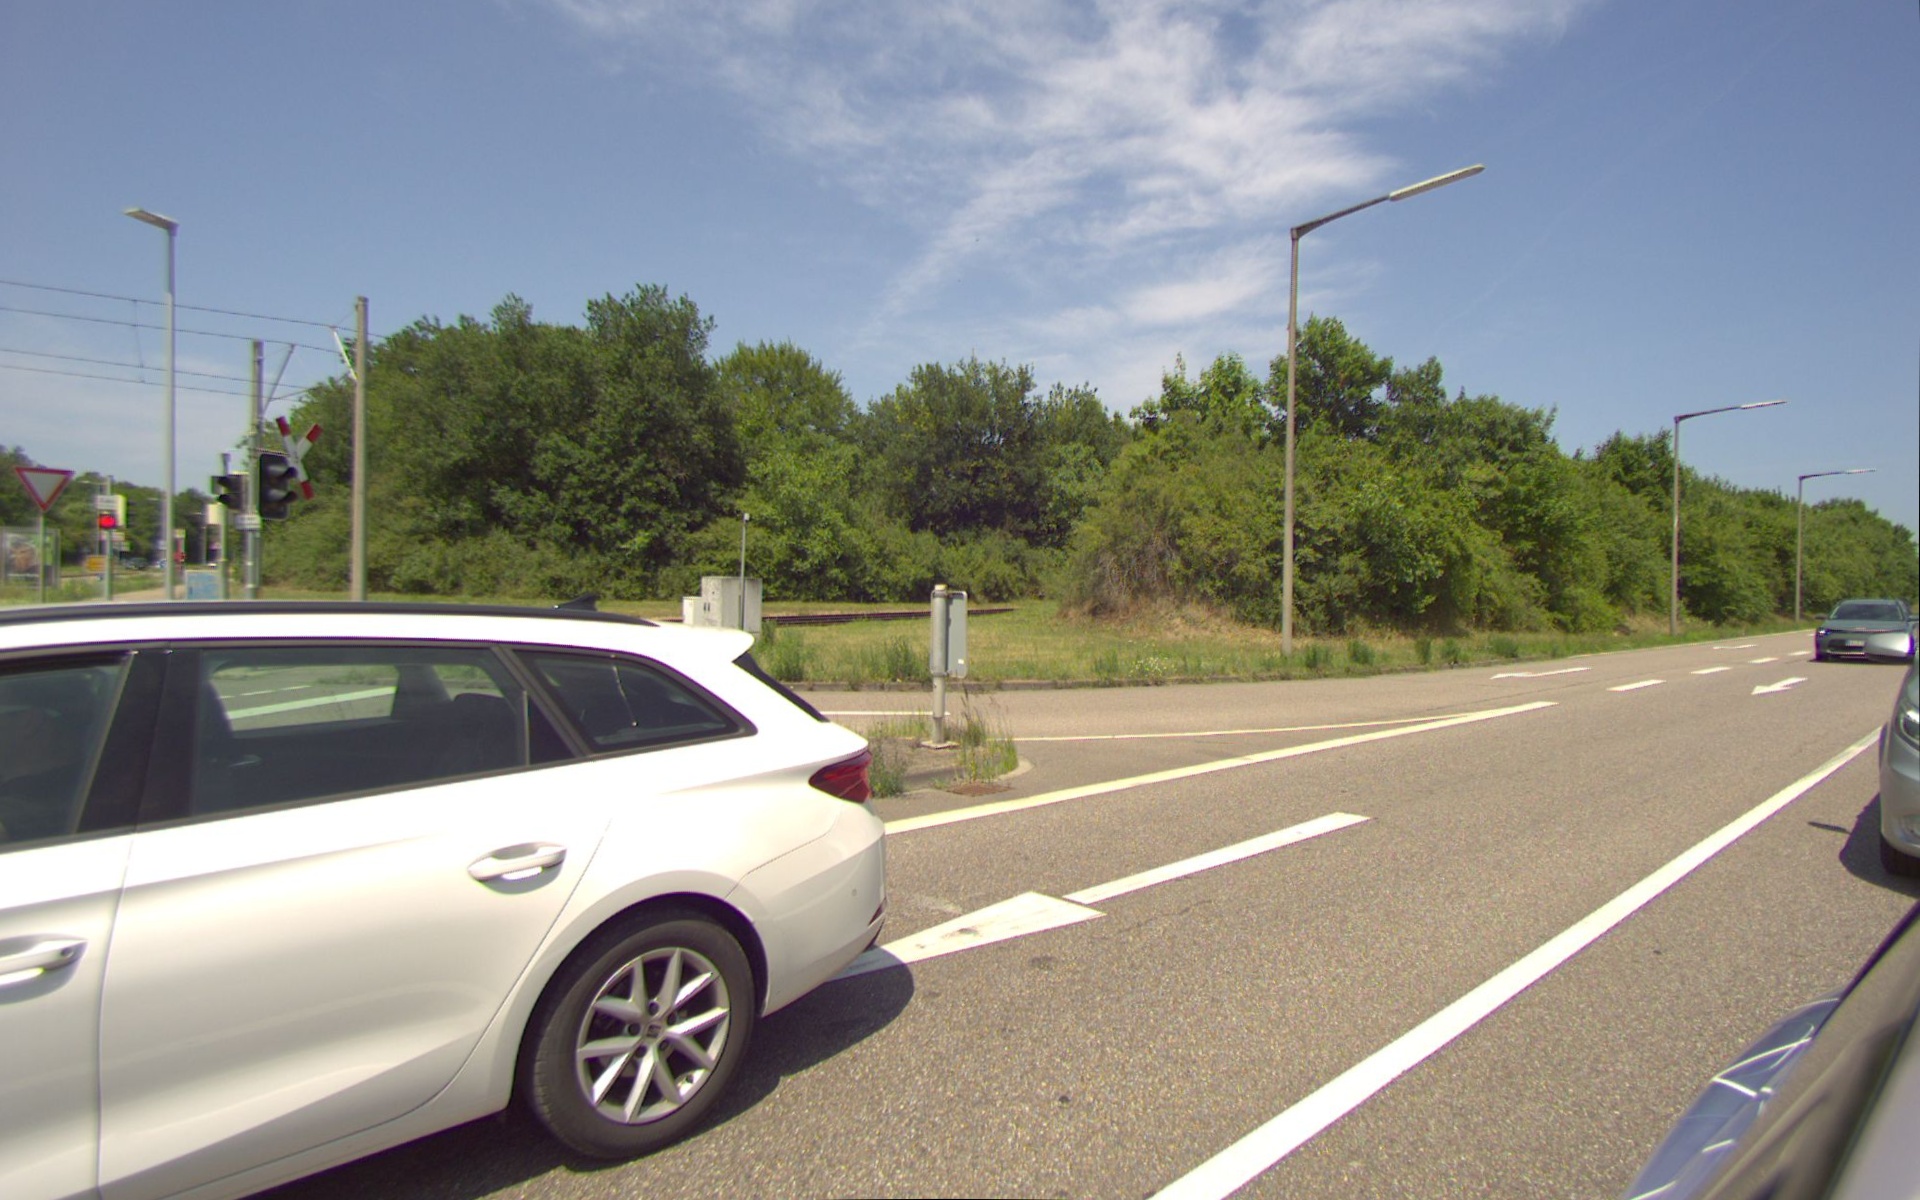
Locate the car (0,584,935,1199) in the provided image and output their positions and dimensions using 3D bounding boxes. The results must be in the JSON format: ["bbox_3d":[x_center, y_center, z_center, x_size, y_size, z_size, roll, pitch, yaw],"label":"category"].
[{"bbox_3d":[-2.254,0.675,2.460,4.375,1.407,1.684,0,1,-43],"label":"car"}]

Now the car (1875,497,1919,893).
[{"bbox_3d":[7.247,0.474,6.082,5.631,1.900,1.875,0,1,-41],"label":"car"}]

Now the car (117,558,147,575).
[{"bbox_3d":[-89.881,-3.638,109.881,1.960,1.812,4.004,1,1,-30],"label":"car"}]

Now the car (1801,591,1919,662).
[{"bbox_3d":[22.657,0.617,25.331,3.928,1.616,1.723,0,1,-39],"label":"car"}]
